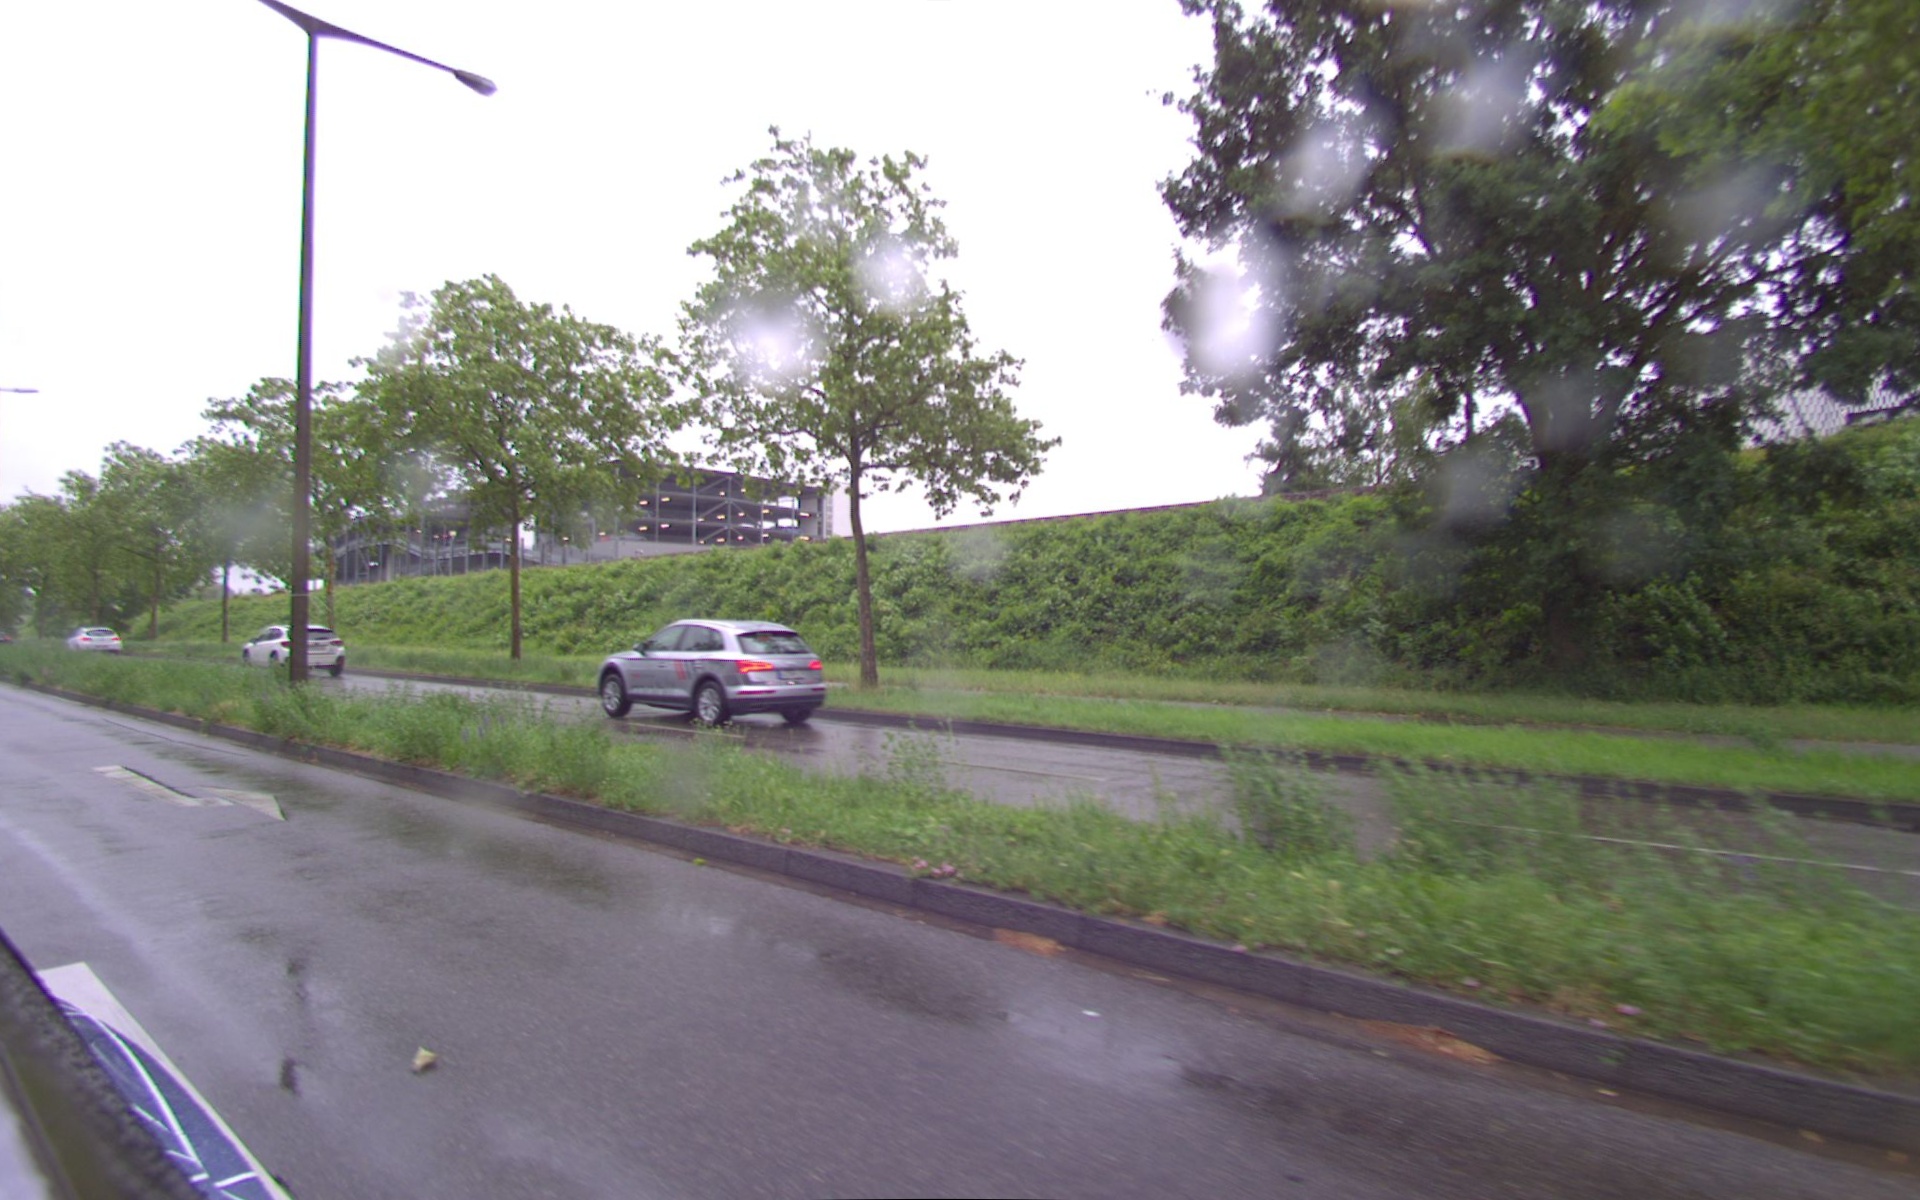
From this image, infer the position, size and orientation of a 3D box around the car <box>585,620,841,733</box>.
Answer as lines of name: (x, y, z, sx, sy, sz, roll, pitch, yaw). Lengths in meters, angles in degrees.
car: (-4.153, 1.168, 16.599, 4.517, 1.601, 1.837, -1, -3, 42)

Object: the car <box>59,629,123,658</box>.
car: (-45.772, 2.259, 53.280, 4.654, 1.456, 1.911, -2, -2, 41)

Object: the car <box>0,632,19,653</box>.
car: (-69.394, 3.057, 72.955, 3.705, 1.456, 1.911, -2, -2, 41)

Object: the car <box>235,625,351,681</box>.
car: (-20.680, 1.585, 31.298, 4.516, 1.601, 1.837, -1, -3, 41)
